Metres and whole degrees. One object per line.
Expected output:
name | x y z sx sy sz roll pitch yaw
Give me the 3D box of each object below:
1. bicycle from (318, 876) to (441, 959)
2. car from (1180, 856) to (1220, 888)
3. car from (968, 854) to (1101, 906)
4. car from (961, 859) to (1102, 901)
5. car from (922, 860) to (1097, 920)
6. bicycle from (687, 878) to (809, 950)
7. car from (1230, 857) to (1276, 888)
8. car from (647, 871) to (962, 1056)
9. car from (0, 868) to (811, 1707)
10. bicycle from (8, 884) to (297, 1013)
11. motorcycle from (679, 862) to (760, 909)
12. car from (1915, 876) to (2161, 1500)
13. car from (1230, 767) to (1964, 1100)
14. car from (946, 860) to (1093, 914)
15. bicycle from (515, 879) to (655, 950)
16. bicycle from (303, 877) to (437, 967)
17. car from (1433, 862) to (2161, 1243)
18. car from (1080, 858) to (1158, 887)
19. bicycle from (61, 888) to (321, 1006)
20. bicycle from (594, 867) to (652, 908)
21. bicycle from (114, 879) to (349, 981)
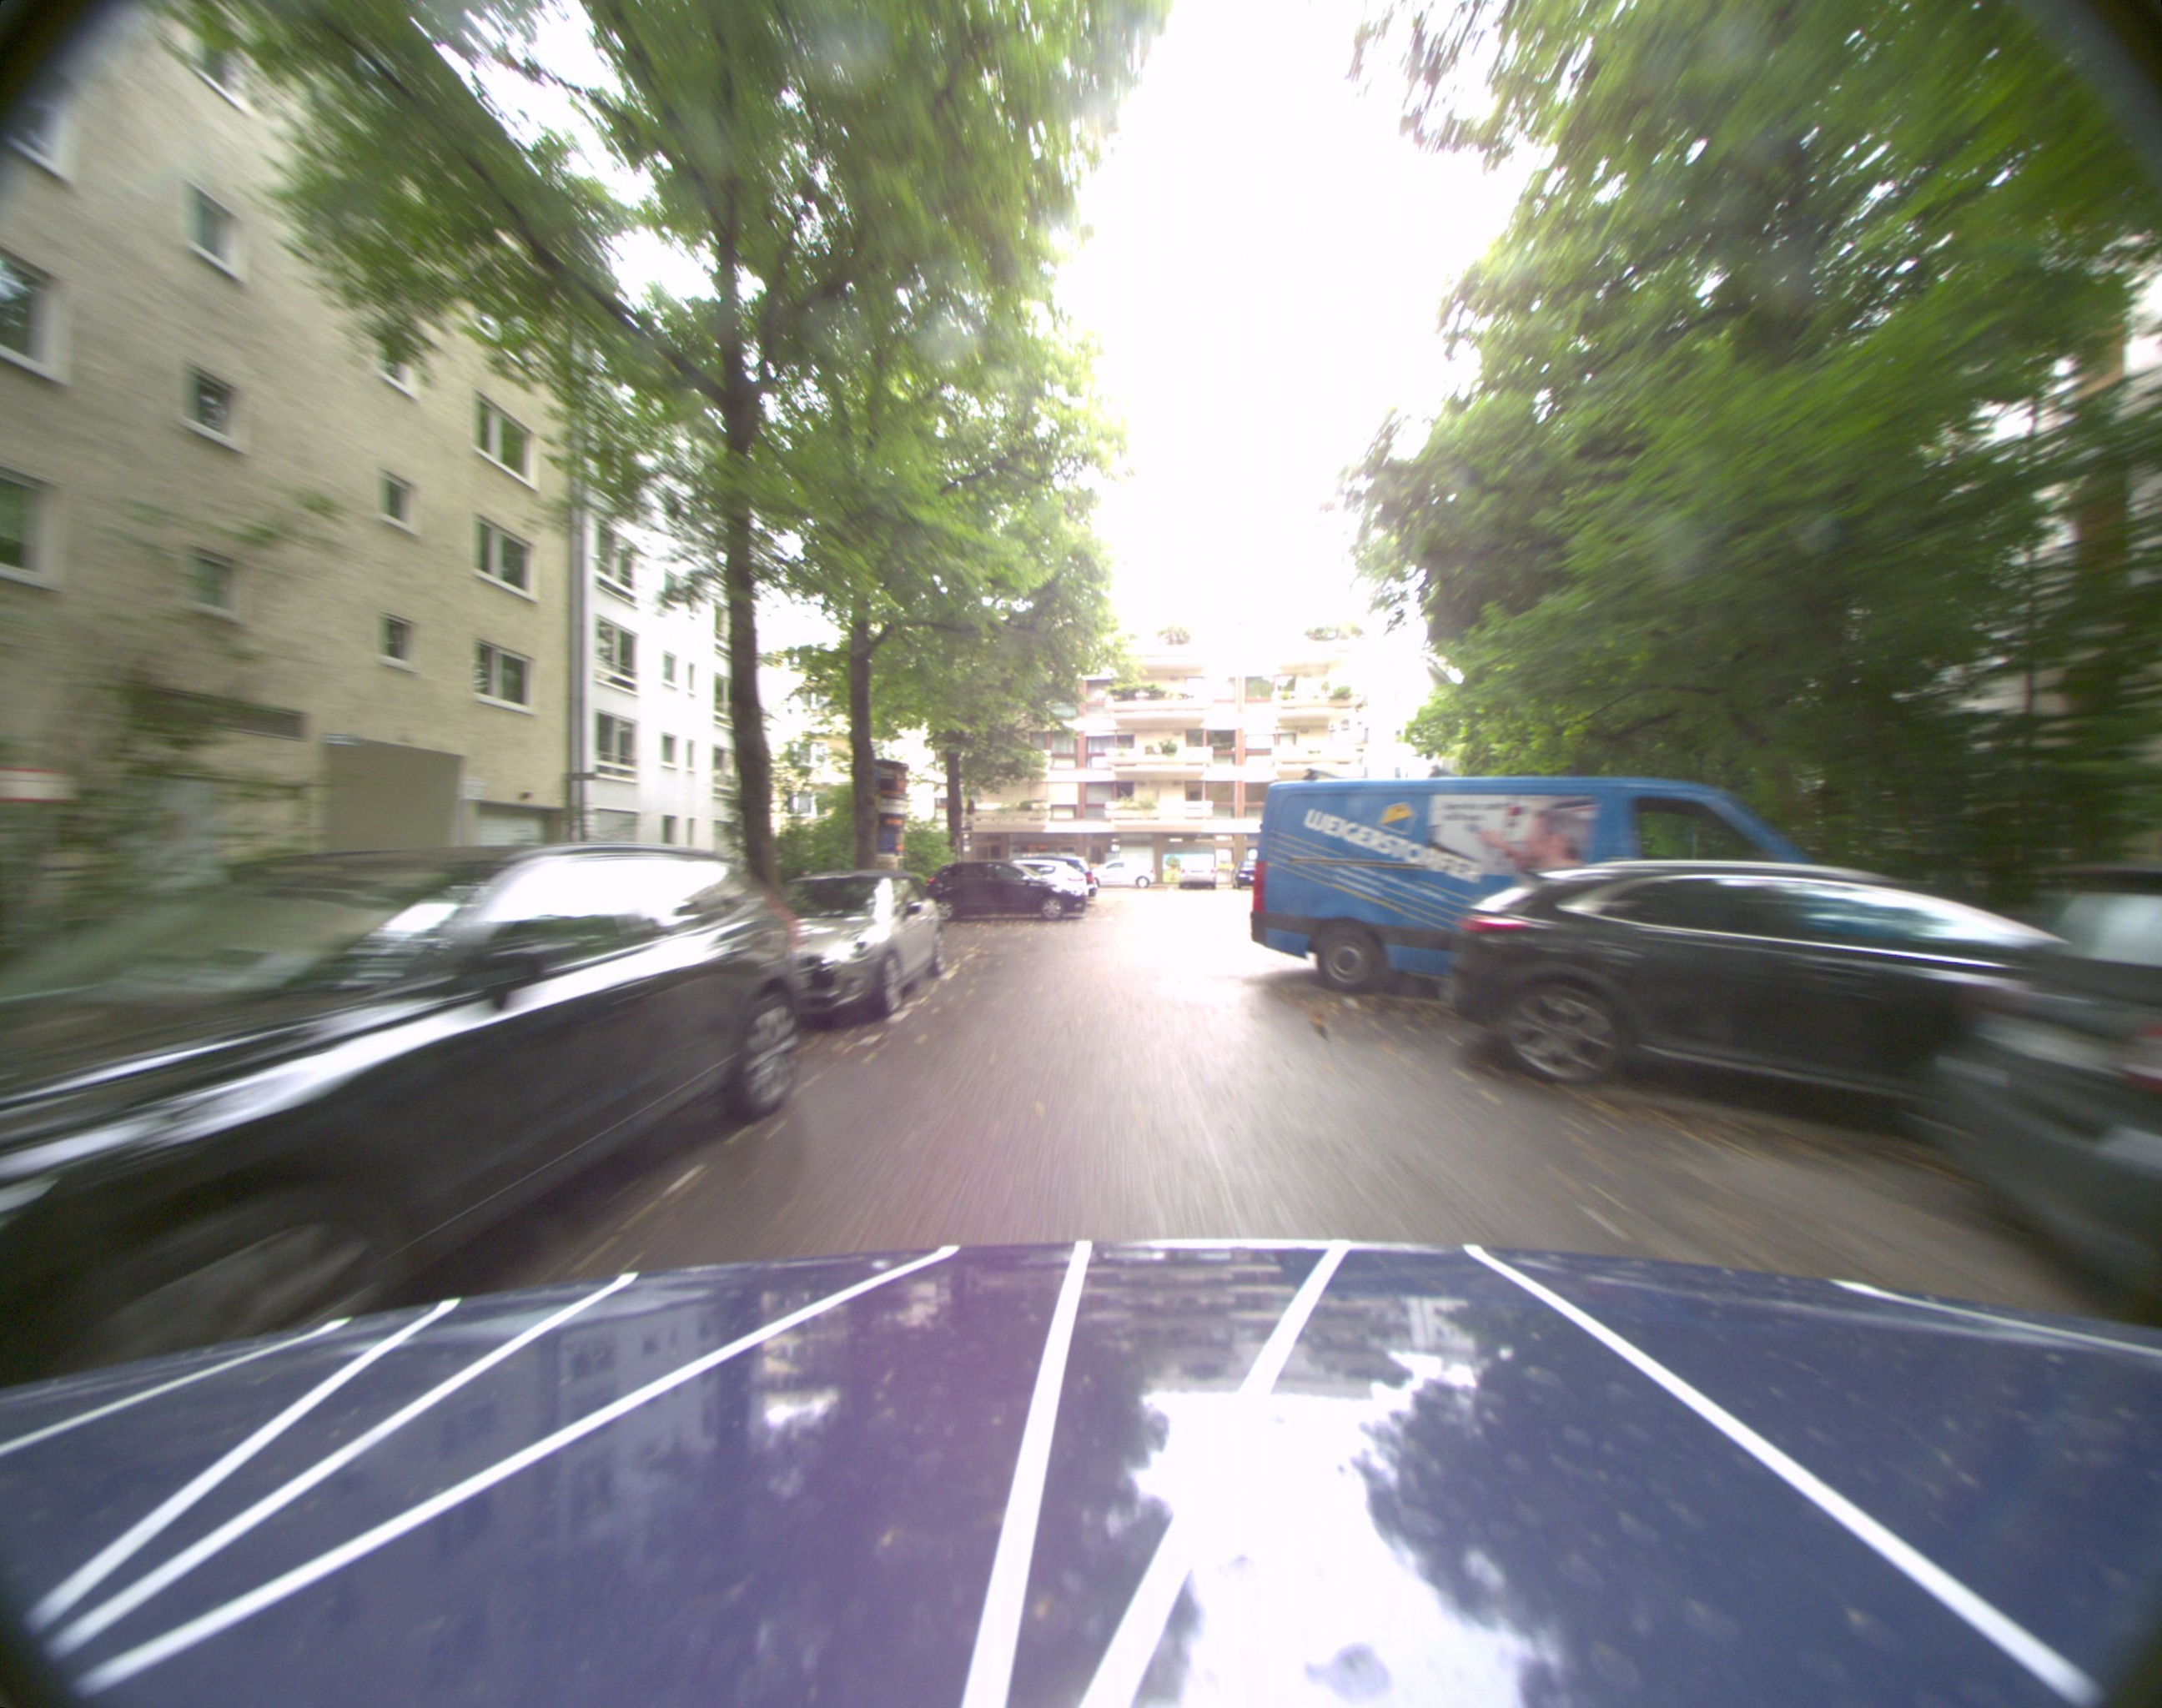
bicycle | -10.649 0.925 11.609 0.445 1.117 1.770 0 0 -8
car | 5.628 0.907 36.285 1.719 1.445 4.246 0 -3 7
car | -1.374 0.783 23.689 3.981 1.546 1.756 0 1 2
car | -1.680 0.883 26.409 4.731 1.369 1.959 0 0 -2
car | -1.684 0.862 18.784 4.091 1.386 1.735 0 0 3
bicycle | -5.922 1.032 13.553 1.873 1.157 0.764 0 1 -35
car | 8.036 0.907 35.856 1.715 1.359 4.076 0 -2 7
car | -2.729 0.989 8.742 1.903 1.405 4.429 1 1 1
car | -2.848 0.913 2.914 1.836 1.619 4.526 0 0 2
bicycle | -9.219 0.897 7.654 1.774 1.117 0.444 -1 1 -34
motorcycle | -9.563 0.822 20.142 1.807 1.191 0.691 0 1 -5
car | 4.833 0.931 1.532 3.856 1.552 1.819 2 2 33
car | 4.538 0.447 7.792 5.478 2.341 2.070 3 3 37
car | -1.670 0.892 21.322 3.946 1.439 1.826 0 1 -2
bicycle | -8.217 0.988 12.653 1.877 1.117 0.540 0 1 -10
bicycle | -9.948 0.905 10.716 0.445 1.117 1.770 0 0 -8
car | 4.544 0.895 4.608 3.987 1.528 1.819 2 2 40
car | 1.931 0.924 37.949 3.828 1.412 1.567 0 -2 6
bicycle | -9.641 0.970 8.330 1.774 1.117 0.444 -1 1 -34
bicycle | -12.966 0.929 21.557 0.539 1.017 1.702 3 1 1
bicycle | -10.111 0.880 9.105 1.949 1.117 0.445 0 1 -14
